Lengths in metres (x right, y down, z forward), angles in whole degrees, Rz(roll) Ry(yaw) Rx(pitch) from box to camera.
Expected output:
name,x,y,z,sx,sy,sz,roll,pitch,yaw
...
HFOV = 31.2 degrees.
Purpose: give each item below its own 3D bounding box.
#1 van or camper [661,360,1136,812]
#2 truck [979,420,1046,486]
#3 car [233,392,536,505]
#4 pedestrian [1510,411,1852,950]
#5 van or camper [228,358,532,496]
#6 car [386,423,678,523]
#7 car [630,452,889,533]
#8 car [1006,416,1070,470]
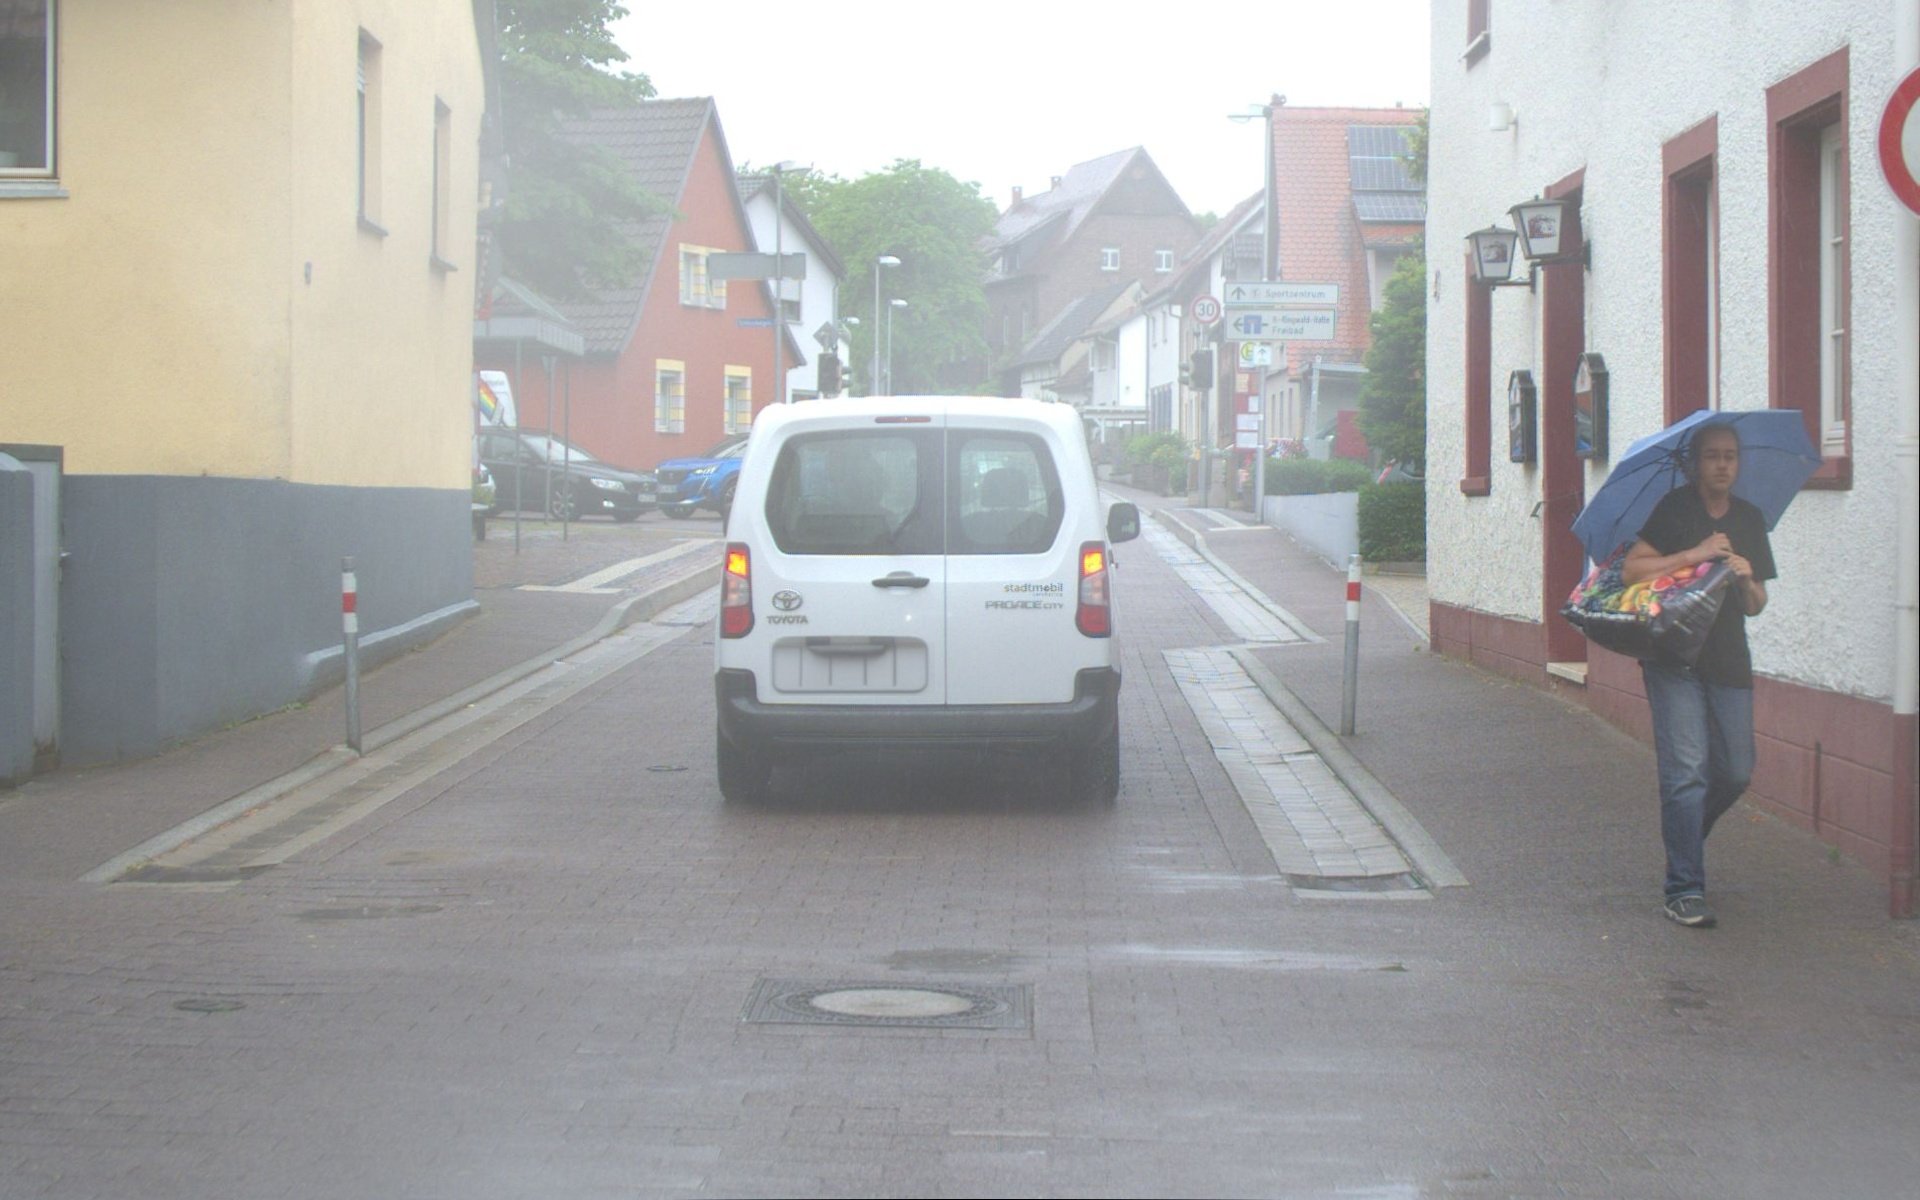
name,x,y,z,sx,sy,sz,roll,pitch,yaw
van or camper,-0.276,-0.136,16.483,1.943,1.844,4.001,2,2,0
truck,1.939,-5.484,128.601,2.350,2.417,4.950,0,2,-1
car,-9.209,-2.444,54.988,4.451,1.544,1.881,4,6,22
pedestrian,2.407,0.241,11.597,0.994,1.730,0.811,1,4,5
van or camper,-10.583,-3.179,62.680,5.150,2.427,2.208,2,4,27
car,-6.967,-2.077,56.004,4.304,1.472,1.848,3,2,17
car,-3.487,-1.863,59.953,3.988,1.368,2.111,-1,2,-36
car,2.591,-5.232,114.872,1.993,1.741,4.001,0,2,-1
